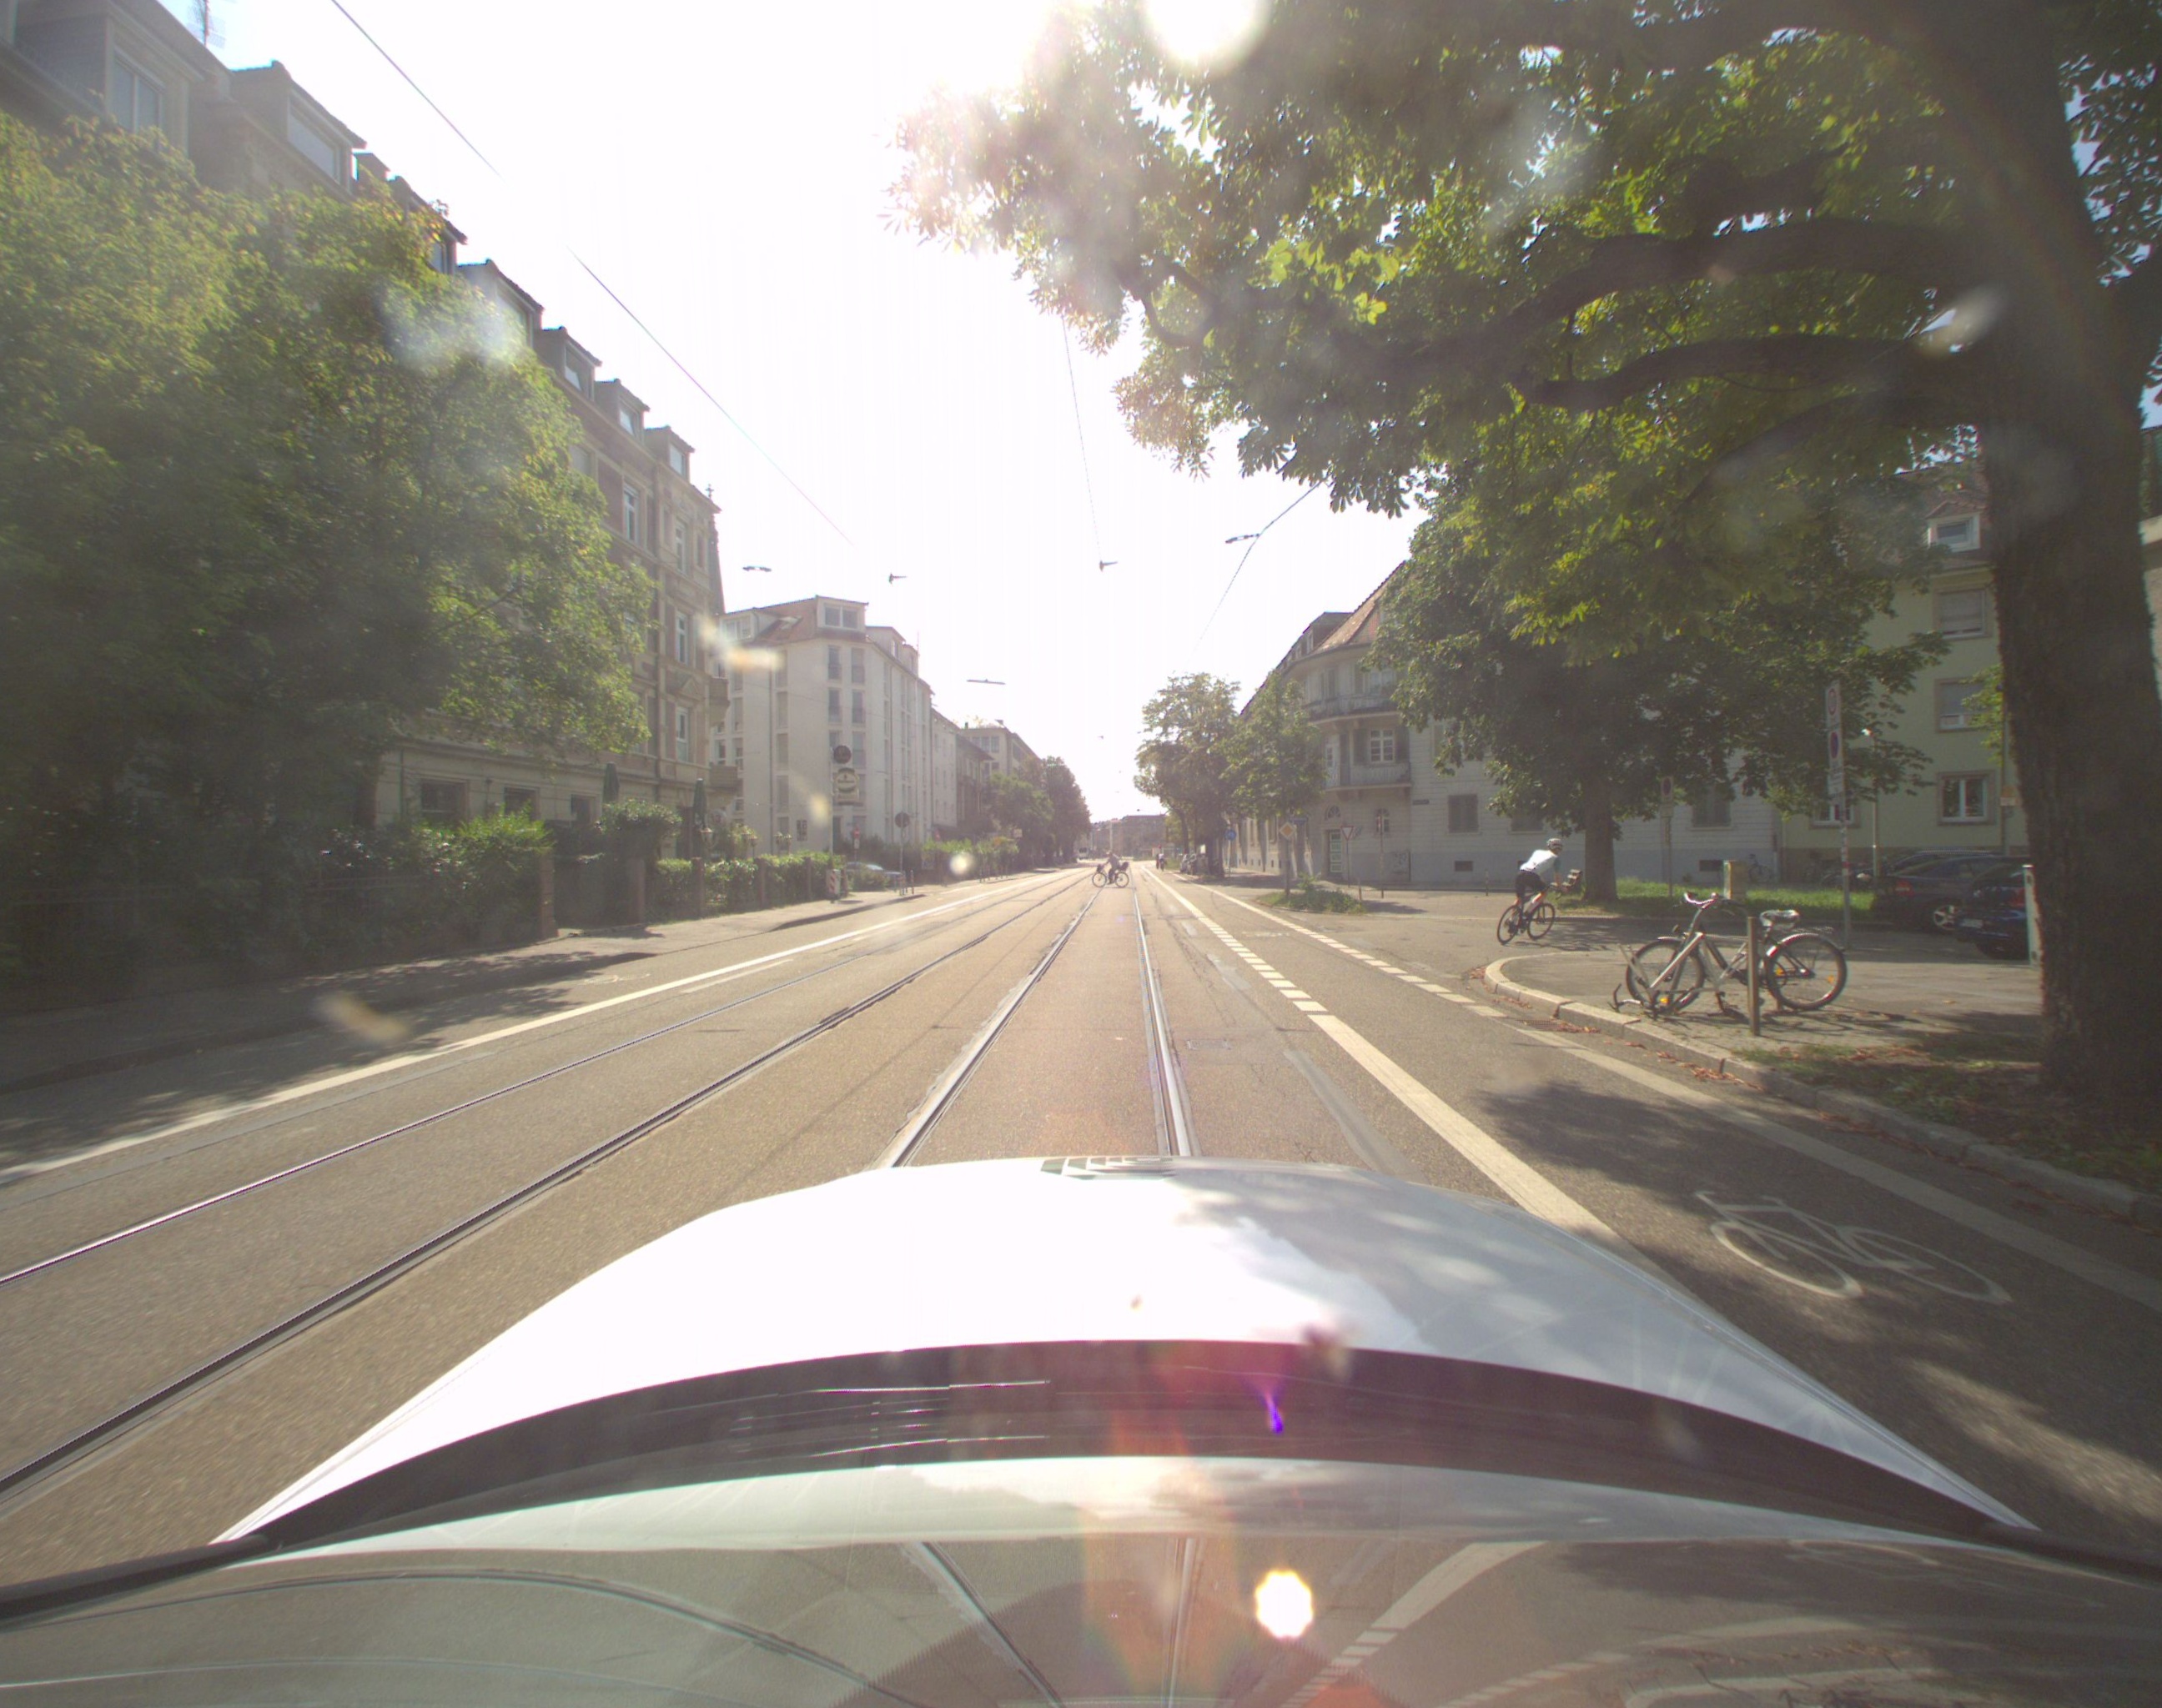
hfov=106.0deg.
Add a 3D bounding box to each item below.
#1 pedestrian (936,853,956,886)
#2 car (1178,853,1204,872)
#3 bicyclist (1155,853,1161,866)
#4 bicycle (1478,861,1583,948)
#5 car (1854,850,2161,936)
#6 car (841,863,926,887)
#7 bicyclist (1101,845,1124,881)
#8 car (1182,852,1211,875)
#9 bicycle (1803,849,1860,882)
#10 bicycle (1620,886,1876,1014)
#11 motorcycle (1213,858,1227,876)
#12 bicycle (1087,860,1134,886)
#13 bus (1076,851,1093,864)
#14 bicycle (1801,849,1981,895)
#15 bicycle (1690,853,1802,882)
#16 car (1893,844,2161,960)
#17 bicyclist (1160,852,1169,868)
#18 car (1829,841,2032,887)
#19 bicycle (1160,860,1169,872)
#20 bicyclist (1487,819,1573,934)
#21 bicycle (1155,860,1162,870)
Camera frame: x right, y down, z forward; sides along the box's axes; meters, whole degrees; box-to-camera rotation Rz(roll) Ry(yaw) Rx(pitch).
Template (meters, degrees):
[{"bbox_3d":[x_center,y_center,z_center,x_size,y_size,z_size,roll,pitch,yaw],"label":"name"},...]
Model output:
[{"bbox_3d":[-7.249,0.813,43.689,0.776,1.756,1.041,-2,0,3],"label":"pedestrian"},{"bbox_3d":[8.524,0.675,63.267,1.578,1.464,3.468,-1,-1,1],"label":"car"},{"bbox_3d":[7.732,0.538,81.341,0.576,1.279,0.472,-1,0,5],"label":"bicyclist"},{"bbox_3d":[7.730,0.788,13.920,1.137,1.269,2.729,-1,0,38],"label":"bicycle"},{"bbox_3d":[16.474,0.643,14.306,3.900,1.348,1.773,-1,-1,31],"label":"car"},{"bbox_3d":[-11.041,1.165,45.460,4.192,1.184,2.011,-2,-1,23],"label":"car"},{"bbox_3d":[1.468,0.429,37.685,0.817,1.643,0.789,-1,0,20],"label":"bicyclist"},{"bbox_3d":[7.879,0.667,55.729,1.578,1.464,3.416,-1,-1,1],"label":"car"},{"bbox_3d":[27.088,0.404,29.444,1.000,1.118,2.287,0,0,28],"label":"bicycle"},{"bbox_3d":[5.766,0.822,7.103,1.705,1.032,0.567,-1,0,4],"label":"bicycle"},{"bbox_3d":[8.369,0.767,49.032,0.546,1.068,2.332,-1,0,3],"label":"motorcycle"},{"bbox_3d":[1.377,0.884,37.718,2.018,1.151,0.789,-1,0,19],"label":"bicycle"},{"bbox_3d":[1.091,0.856,215.479,3.720,3.364,15.130,-1,0,3],"label":"bus"},{"bbox_3d":[21.274,0.439,21.532,3.173,1.112,1.170,0,1,29],"label":"bicycle"},{"bbox_3d":[25.265,0.484,31.050,3.173,1.029,1.170,0,0,29],"label":"bicycle"},{"bbox_3d":[12.988,0.567,10.218,3.564,1.348,1.772,-1,-1,26],"label":"car"},{"bbox_3d":[7.253,0.539,71.085,0.755,1.391,0.780,-1,0,5],"label":"bicyclist"},{"bbox_3d":[27.273,0.348,26.362,4.228,1.382,1.692,-1,-1,31],"label":"car"},{"bbox_3d":[7.283,1.030,71.233,0.755,0.991,2.301,-1,0,6],"label":"bicycle"},{"bbox_3d":[7.574,0.360,13.728,1.114,1.837,0.962,-1,-1,37],"label":"bicyclist"},{"bbox_3d":[7.759,1.062,81.476,0.585,0.939,2.175,-1,0,6],"label":"bicycle"}]
